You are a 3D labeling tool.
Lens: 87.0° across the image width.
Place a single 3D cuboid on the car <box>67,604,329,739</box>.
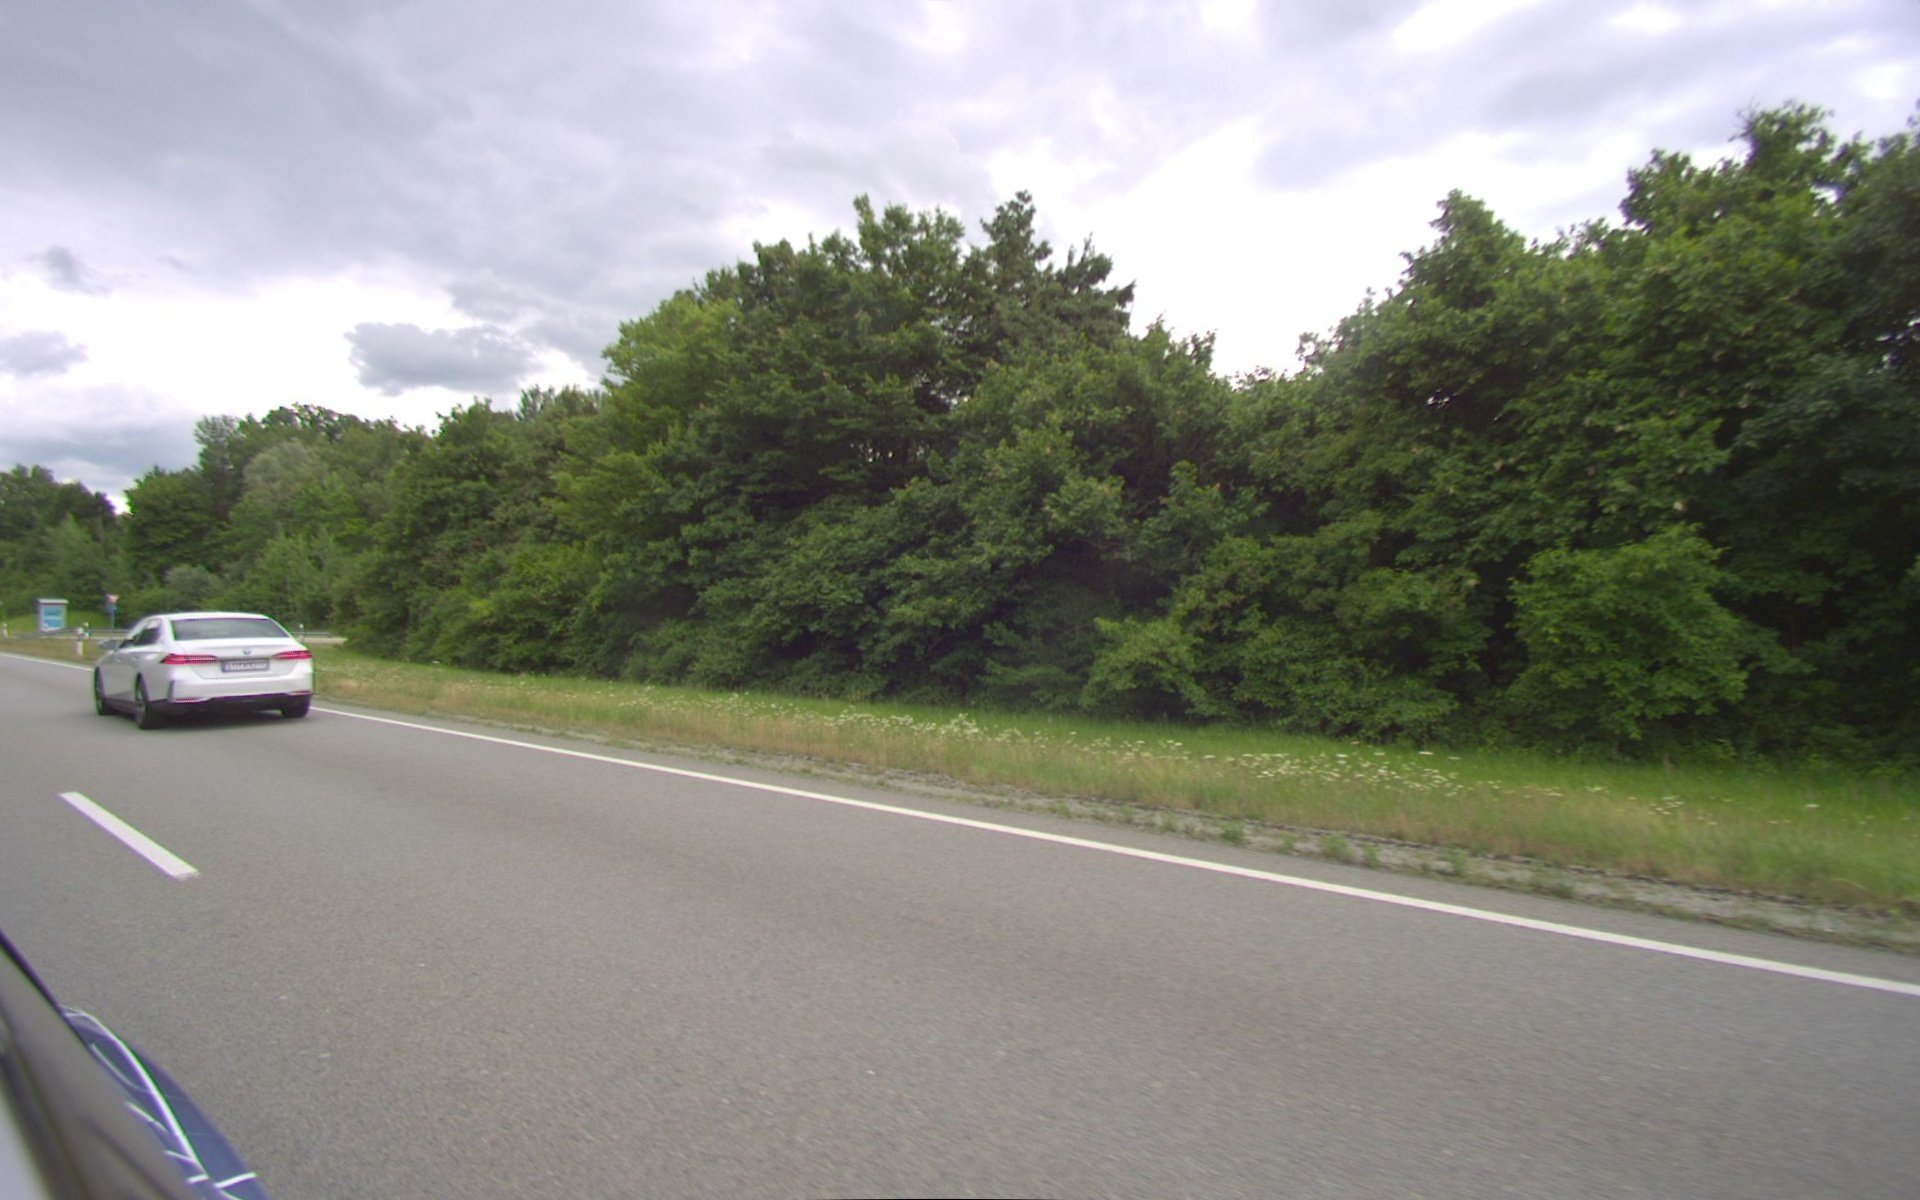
[{"bbox_3d":[-11.166,0.890,14.648,5.449,1.586,1.943,-1,0,41],"label":"car"}]
